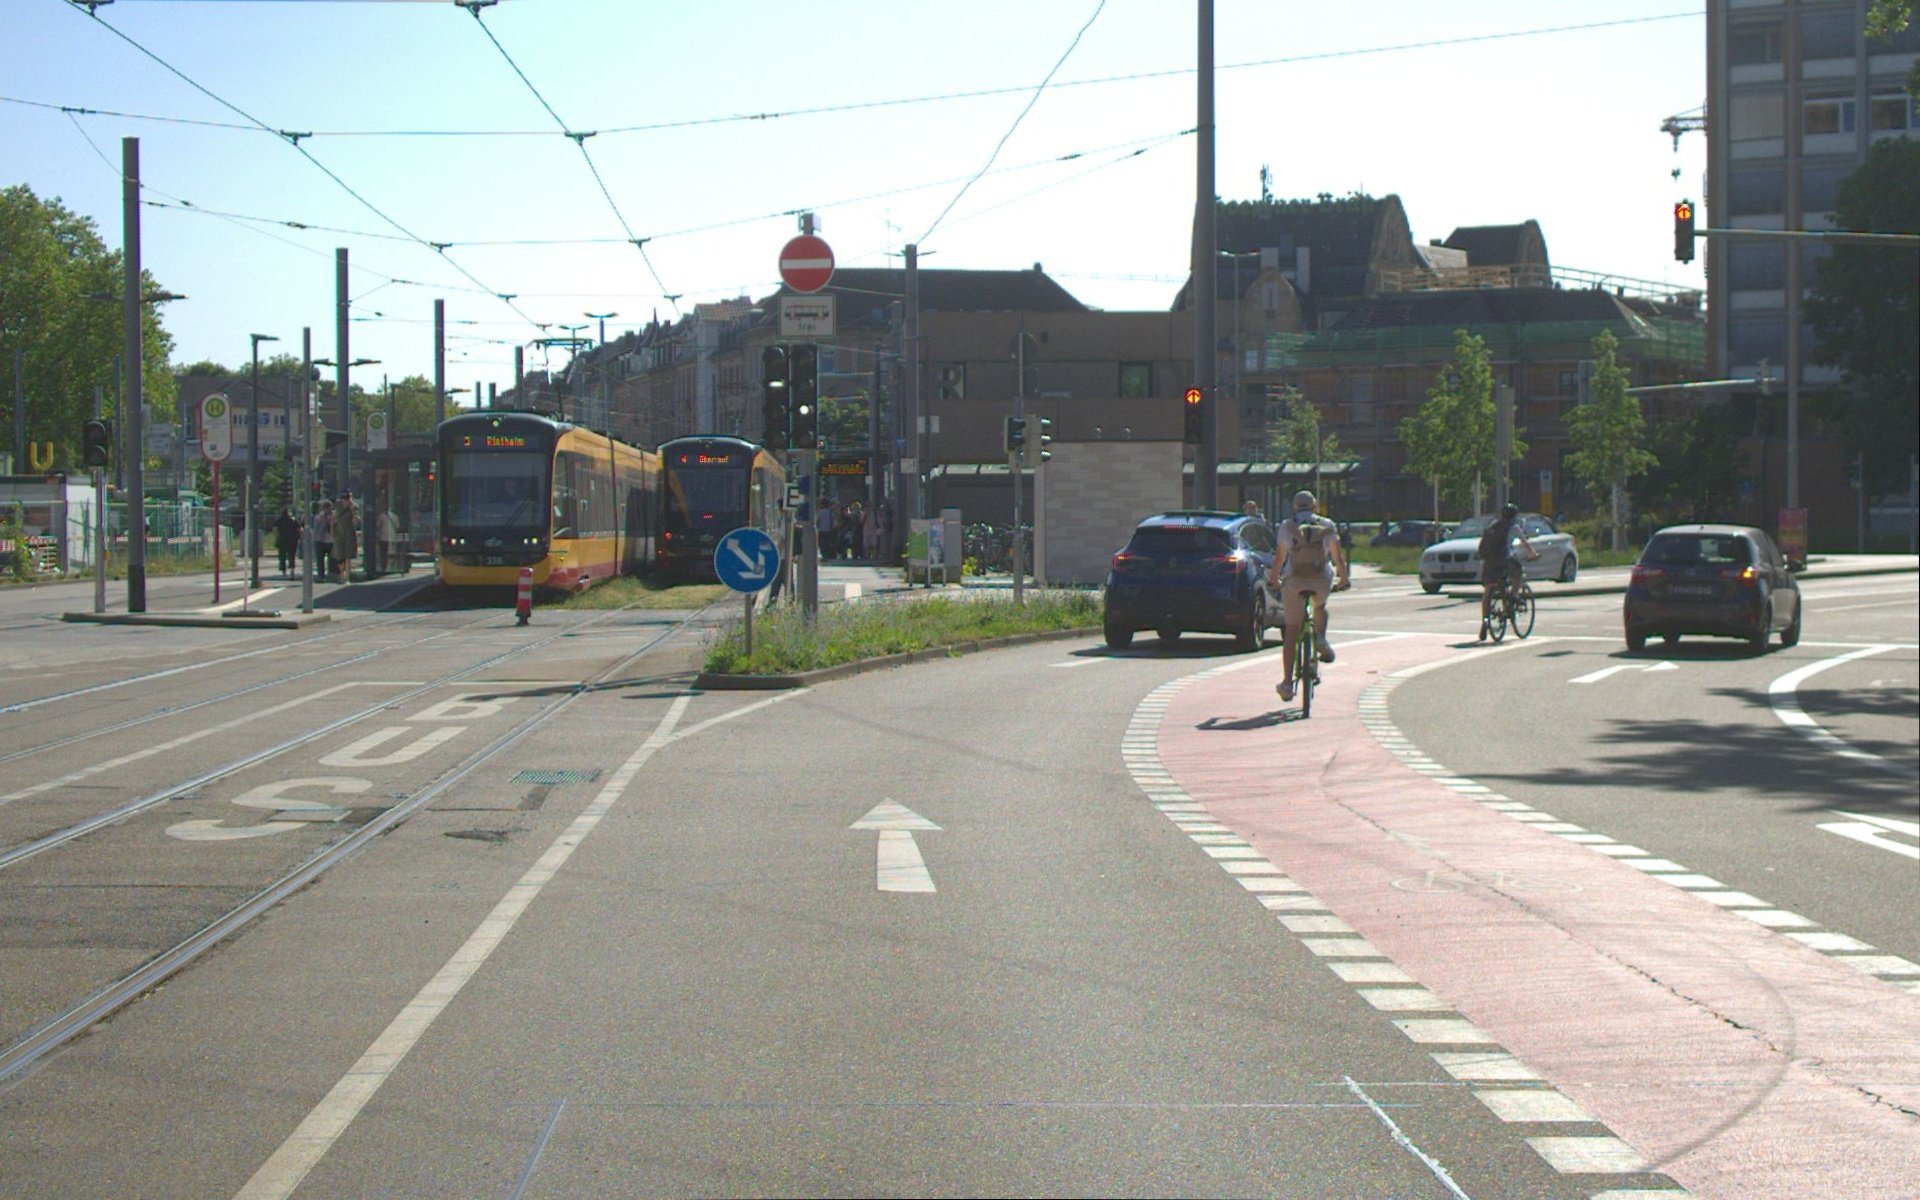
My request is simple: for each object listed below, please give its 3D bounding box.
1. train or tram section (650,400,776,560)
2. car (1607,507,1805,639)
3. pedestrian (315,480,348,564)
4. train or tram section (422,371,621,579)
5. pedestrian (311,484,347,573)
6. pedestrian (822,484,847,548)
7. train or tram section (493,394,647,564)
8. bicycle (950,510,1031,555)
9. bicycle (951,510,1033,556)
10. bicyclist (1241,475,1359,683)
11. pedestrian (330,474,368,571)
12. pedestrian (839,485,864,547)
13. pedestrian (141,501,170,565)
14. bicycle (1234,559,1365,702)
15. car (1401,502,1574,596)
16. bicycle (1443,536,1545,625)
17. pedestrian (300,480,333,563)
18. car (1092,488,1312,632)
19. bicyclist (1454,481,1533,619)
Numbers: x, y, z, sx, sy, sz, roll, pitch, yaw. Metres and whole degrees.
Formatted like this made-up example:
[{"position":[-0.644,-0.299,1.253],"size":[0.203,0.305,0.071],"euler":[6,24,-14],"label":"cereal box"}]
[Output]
[{"position":[-5.991,-2.945,85.042],"size":[2.742,3.638,13.788],"euler":[0,2,-3],"label":"train or tram section"},{"position":[9.191,-0.364,42.164],"size":[1.791,1.506,3.709],"euler":[2,2,21],"label":"car"},{"position":[-13.647,-1.696,74.663],"size":[0.626,1.821,0.662],"euler":[0,1,-3],"label":"pedestrian"},{"position":[-8.368,-2.400,67.164],"size":[2.742,3.638,13.788],"euler":[0,2,-3],"label":"train or tram section"},{"position":[-12.886,-1.459,70.242],"size":[0.626,1.821,0.662],"euler":[0,1,-3],"label":"pedestrian"},{"position":[-3.877,-2.590,106.014],"size":[0.660,1.946,0.629],"euler":[0,1,-14],"label":"pedestrian"},{"position":[-8.966,-2.801,80.310],"size":[2.742,3.638,12.546],"euler":[0,2,-3],"label":"train or tram section"},{"position":[0.730,-1.640,83.536],"size":[1.933,1.099,0.599],"euler":[0,2,-4],"label":"bicycle"},{"position":[0.778,-1.625,82.767],"size":[1.933,1.099,0.599],"euler":[0,2,-4],"label":"bicycle"},{"position":[2.829,-0.188,28.521],"size":[0.705,1.669,1.100],"euler":[2,2,18],"label":"bicyclist"},{"position":[-11.566,-1.471,65.076],"size":[0.626,1.821,0.662],"euler":[0,1,-3],"label":"pedestrian"},{"position":[-3.411,-2.628,108.081],"size":[0.660,1.946,0.629],"euler":[0,1,-14],"label":"pedestrian"},{"position":[-21.650,-1.805,92.514],"size":[0.626,1.691,0.662],"euler":[0,1,-3],"label":"pedestrian"},{"position":[2.831,0.235,28.569],"size":[0.705,1.101,1.716],"euler":[2,2,18],"label":"bicycle"},{"position":[9.720,-0.948,63.156],"size":[1.705,1.638,3.705],"euler":[2,2,33],"label":"car"},{"position":[6.801,-0.266,43.677],"size":[0.706,1.051,2.311],"euler":[3,3,23],"label":"bicycle"},{"position":[-14.290,-1.743,76.354],"size":[0.626,1.821,0.662],"euler":[0,1,-3],"label":"pedestrian"},{"position":[2.921,-0.505,40.837],"size":[1.790,1.599,3.710],"euler":[2,2,17],"label":"car"},{"position":[6.760,-0.639,43.531],"size":[0.706,1.694,0.986],"euler":[3,3,23],"label":"bicyclist"}]
